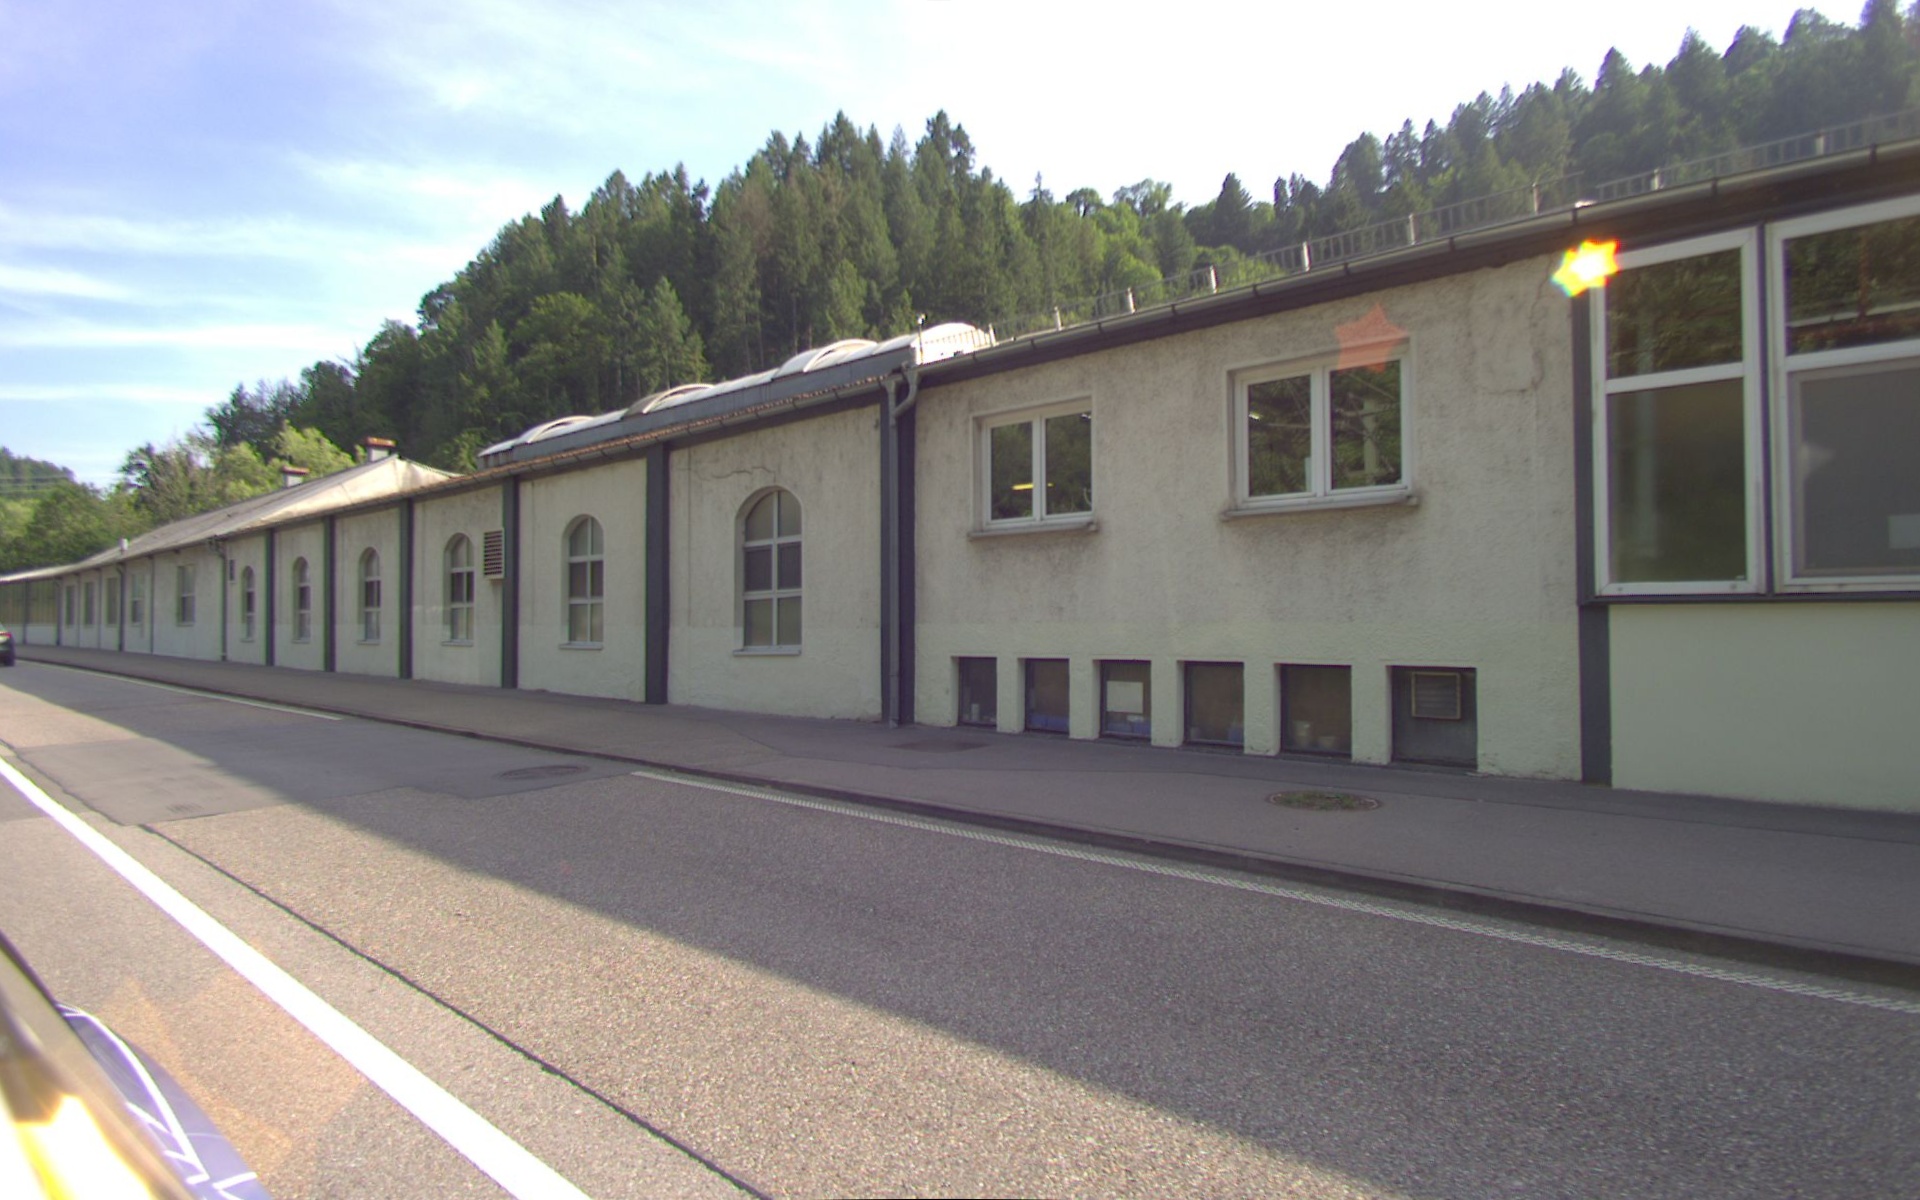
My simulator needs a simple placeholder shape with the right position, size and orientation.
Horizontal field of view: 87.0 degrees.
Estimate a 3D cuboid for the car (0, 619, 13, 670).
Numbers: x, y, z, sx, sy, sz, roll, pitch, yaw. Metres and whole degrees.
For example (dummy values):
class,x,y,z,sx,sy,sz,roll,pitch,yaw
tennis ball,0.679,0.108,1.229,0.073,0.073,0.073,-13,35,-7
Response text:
class,x,y,z,sx,sy,sz,roll,pitch,yaw
car,-32.020,1.449,32.488,4.456,1.593,1.910,-1,0,41
